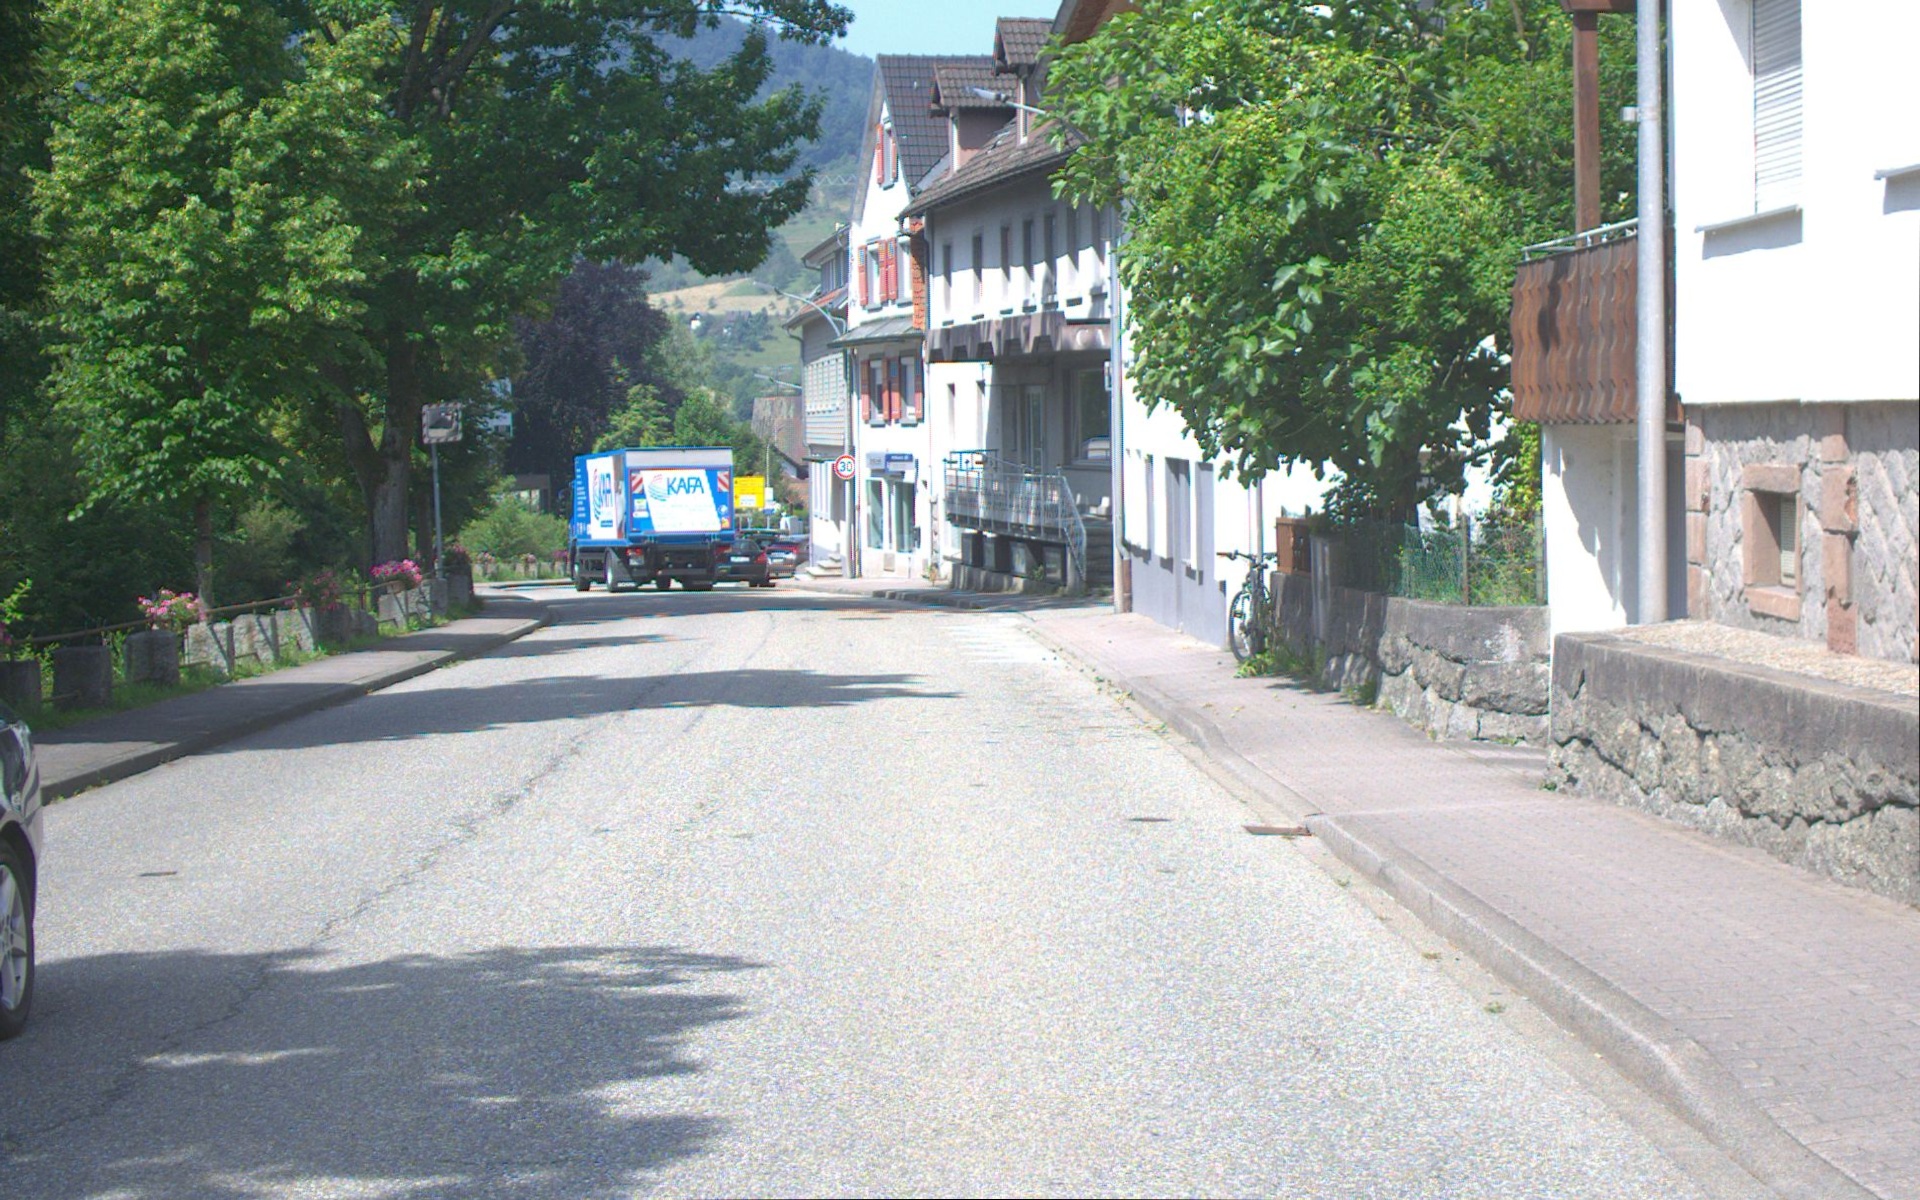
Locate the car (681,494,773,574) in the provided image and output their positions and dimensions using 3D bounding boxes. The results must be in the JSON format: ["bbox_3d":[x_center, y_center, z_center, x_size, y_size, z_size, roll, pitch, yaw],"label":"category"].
[{"bbox_3d":[-6.207,-1.736,91.310,1.773,1.831,4.001,-4,0,-12],"label":"car"}]

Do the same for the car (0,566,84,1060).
[{"bbox_3d":[-3.609,0.669,8.805,1.666,1.413,4.087,-3,1,-1],"label":"car"}]

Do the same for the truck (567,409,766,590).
[{"bbox_3d":[-7.256,-2.345,83.762,3.362,3.769,8.442,-4,0,-13],"label":"truck"}]

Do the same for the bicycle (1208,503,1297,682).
[{"bbox_3d":[2.412,-0.092,28.500,0.425,1.391,2.277,-4,2,0],"label":"bicycle"}]
